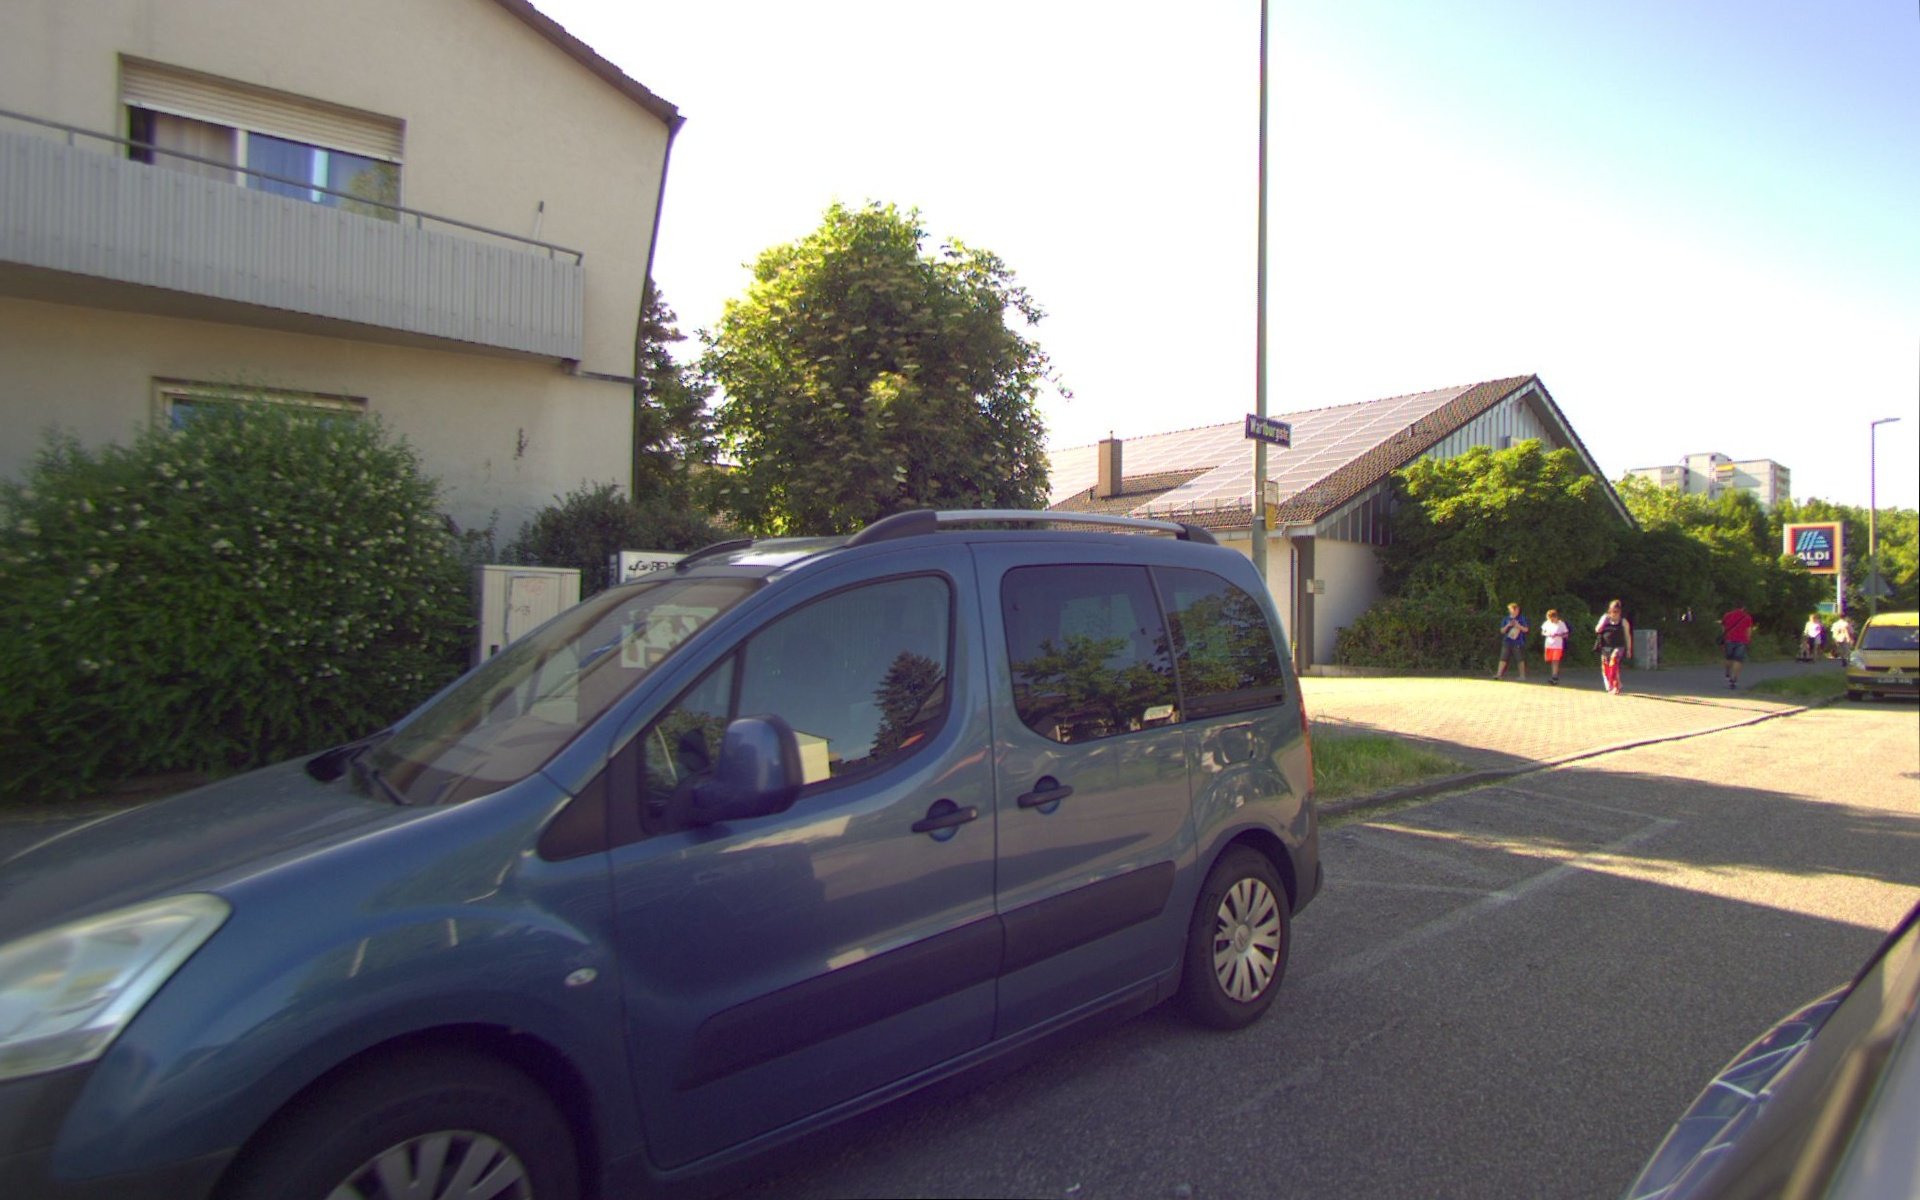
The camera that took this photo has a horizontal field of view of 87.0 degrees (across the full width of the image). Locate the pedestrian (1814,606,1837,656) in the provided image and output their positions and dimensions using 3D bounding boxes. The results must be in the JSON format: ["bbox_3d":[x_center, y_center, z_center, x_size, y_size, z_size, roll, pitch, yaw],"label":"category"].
[{"bbox_3d":[31.461,1.120,36.795,0.579,1.791,0.541,1,-1,-40],"label":"pedestrian"}]

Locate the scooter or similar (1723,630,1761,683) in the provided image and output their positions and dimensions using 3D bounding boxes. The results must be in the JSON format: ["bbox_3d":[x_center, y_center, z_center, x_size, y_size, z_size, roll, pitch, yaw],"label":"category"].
[{"bbox_3d":[16.455,1.182,21.290,0.456,1.043,1.033,5,3,44],"label":"scooter or similar"}]

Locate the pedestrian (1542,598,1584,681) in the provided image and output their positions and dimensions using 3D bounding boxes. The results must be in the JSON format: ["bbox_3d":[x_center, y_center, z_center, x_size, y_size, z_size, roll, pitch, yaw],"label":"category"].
[{"bbox_3d":[11.785,0.759,19.784,0.654,1.551,0.447,1,2,-43],"label":"pedestrian"}]

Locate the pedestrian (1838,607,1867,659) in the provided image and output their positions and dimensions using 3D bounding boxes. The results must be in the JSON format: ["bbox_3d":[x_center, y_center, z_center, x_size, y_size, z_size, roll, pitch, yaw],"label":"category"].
[{"bbox_3d":[31.022,1.127,35.161,0.579,1.791,0.672,1,-1,-40],"label":"pedestrian"}]

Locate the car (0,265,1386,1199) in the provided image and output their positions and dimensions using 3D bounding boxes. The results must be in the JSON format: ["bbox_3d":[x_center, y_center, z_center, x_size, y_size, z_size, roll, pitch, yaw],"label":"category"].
[{"bbox_3d":[-0.628,0.501,3.284,4.479,1.872,1.860,1,-3,-41],"label":"car"}]

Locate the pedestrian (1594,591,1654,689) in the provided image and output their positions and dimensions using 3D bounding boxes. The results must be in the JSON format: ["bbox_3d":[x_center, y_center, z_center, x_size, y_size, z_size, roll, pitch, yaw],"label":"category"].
[{"bbox_3d":[12.153,0.722,18.519,0.881,1.709,0.634,1,2,-43],"label":"pedestrian"}]

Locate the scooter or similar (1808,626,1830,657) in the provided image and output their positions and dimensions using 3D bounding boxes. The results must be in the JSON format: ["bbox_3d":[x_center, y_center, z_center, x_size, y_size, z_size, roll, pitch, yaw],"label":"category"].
[{"bbox_3d":[30.847,1.470,36.327,0.826,1.092,0.478,1,-1,-40],"label":"scooter or similar"}]

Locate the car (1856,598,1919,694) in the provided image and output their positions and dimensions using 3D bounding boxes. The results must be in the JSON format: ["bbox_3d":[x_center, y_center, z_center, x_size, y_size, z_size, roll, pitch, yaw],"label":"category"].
[{"bbox_3d":[19.426,0.887,20.300,3.911,1.799,1.620,1,-1,-40],"label":"car"}]

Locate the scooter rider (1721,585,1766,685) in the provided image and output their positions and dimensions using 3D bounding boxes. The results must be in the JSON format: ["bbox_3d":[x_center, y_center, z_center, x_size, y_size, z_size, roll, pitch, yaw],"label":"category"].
[{"bbox_3d":[16.492,0.724,21.301,0.598,2.038,0.478,4,2,45],"label":"scooter rider"}]

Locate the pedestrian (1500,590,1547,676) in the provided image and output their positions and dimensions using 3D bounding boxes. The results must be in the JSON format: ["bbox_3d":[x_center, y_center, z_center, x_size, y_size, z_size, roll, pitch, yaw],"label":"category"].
[{"bbox_3d":[11.491,0.652,20.633,0.632,1.684,0.583,1,2,-43],"label":"pedestrian"}]
